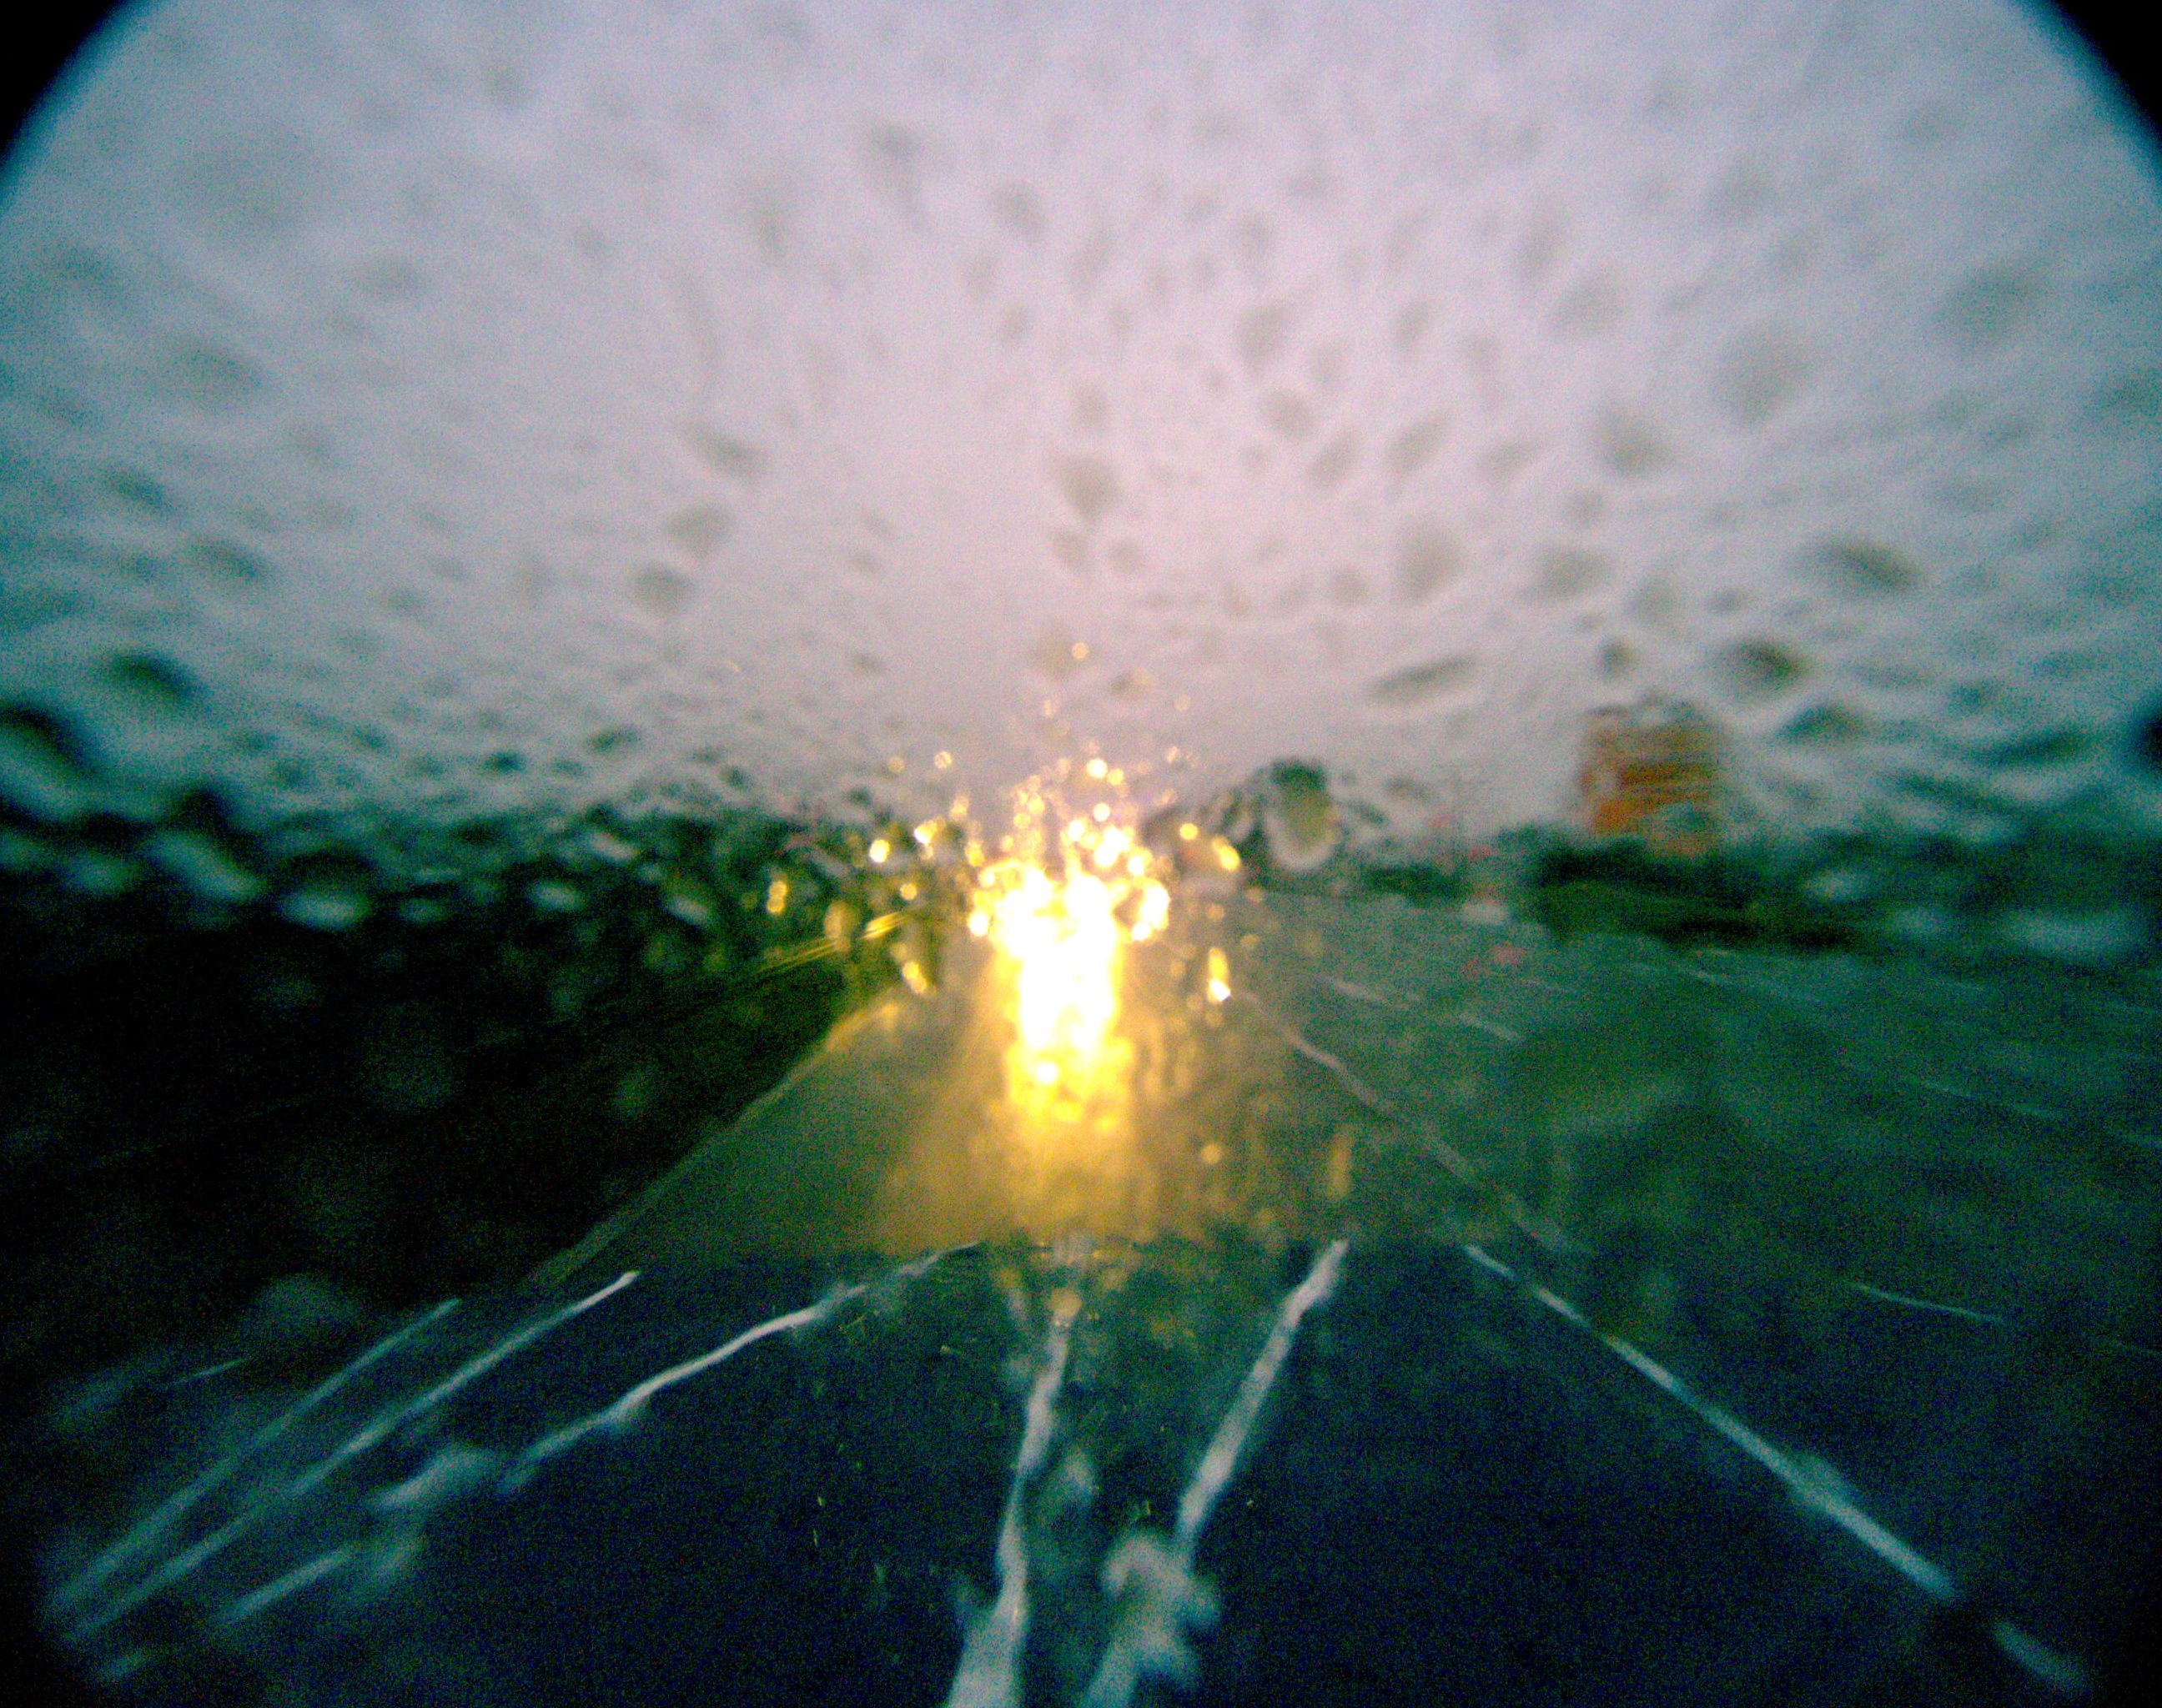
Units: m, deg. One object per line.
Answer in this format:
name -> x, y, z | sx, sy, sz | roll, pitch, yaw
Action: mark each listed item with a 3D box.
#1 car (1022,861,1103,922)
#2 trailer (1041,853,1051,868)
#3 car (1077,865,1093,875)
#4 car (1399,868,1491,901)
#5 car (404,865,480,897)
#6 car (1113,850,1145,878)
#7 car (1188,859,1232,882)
car -> -0.447, 1.026, 22.575 | 1.886, 1.513, 4.001 | -3, 0, 5
trailer -> -10.658, 1.939, 230.080 | 2.636, 4.557, 13.320 | 1, 0, -4
car -> 0.646, 2.537, 119.027 | 2.000, 1.463, 4.470 | 1, 0, -6
car -> 19.634, 1.634, 41.011 | 4.274, 1.665, 2.005 | 0, -3, 31
car -> -62.194, 2.564, 73.982 | 6.378, 2.948, 2.292 | 1, -1, 13
car -> 3.871, 0.782, 61.891 | 1.877, 2.124, 5.178 | 2, 0, -4
car -> 9.883, 1.305, 58.485 | 1.921, 1.622, 3.855 | 2, -3, -15
